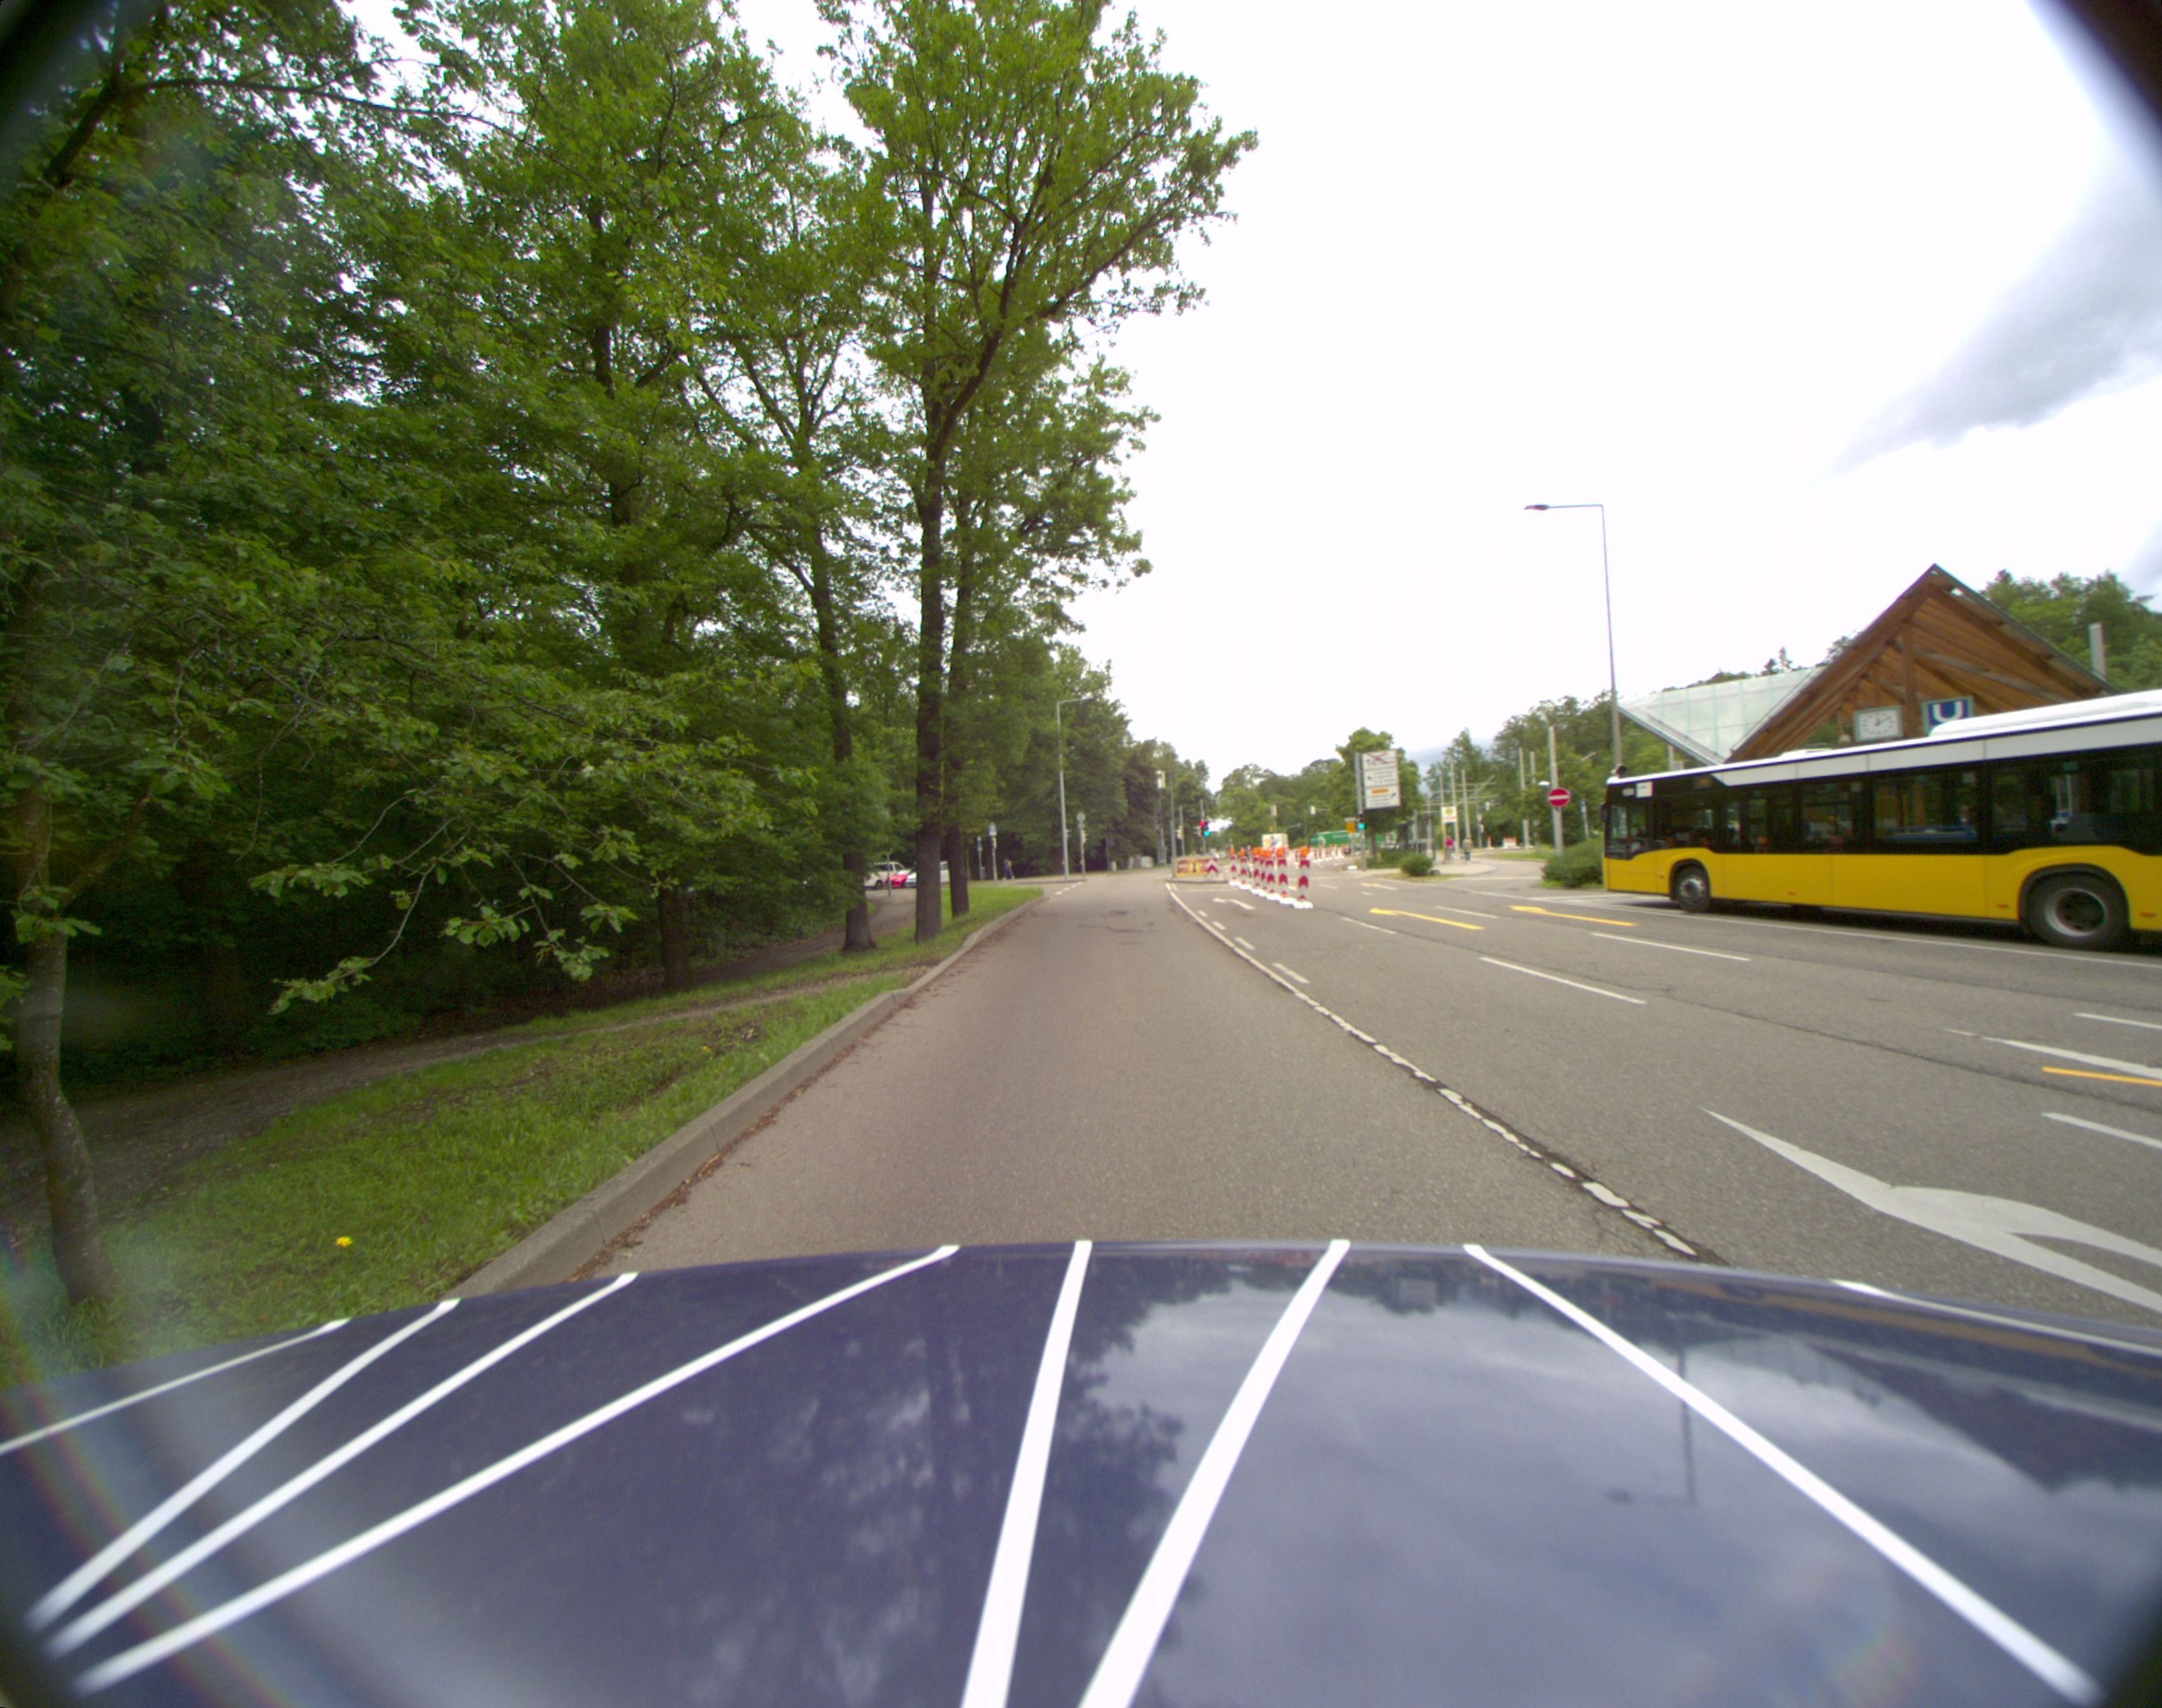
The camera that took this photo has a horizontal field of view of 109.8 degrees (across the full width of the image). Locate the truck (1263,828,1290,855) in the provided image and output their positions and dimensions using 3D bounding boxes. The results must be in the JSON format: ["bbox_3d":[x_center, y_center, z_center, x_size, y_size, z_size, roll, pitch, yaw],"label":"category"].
[{"bbox_3d":[24.957,-1.588,96.914,2.631,3.219,6.215,-1,1,20],"label":"truck"}]

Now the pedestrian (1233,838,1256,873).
[{"bbox_3d":[8.785,0.075,40.877,0.993,1.798,0.767,-4,0,8],"label":"pedestrian"}]

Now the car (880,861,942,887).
[{"bbox_3d":[-12.162,1.403,54.430,1.890,1.543,4.007,-4,0,35],"label":"car"}]

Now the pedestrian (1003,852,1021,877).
[{"bbox_3d":[-4.791,0.709,52.602,1.094,1.666,0.910,-3,1,-11],"label":"pedestrian"}]

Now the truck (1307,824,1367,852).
[{"bbox_3d":[40.236,-2.464,119.886,3.792,3.858,8.756,-4,0,-25],"label":"truck"}]

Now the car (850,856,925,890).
[{"bbox_3d":[-14.204,1.360,56.080,2.058,1.946,5.191,-4,1,32],"label":"car"}]

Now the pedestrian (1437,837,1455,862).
[{"bbox_3d":[23.733,-0.303,49.384,0.791,1.542,0.776,-4,0,12],"label":"pedestrian"}]

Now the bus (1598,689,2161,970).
[{"bbox_3d":[13.491,-0.340,12.864,2.906,3.109,9.759,-2,0,1],"label":"bus"}]

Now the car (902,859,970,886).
[{"bbox_3d":[-10.060,1.275,53.041,1.995,1.543,4.429,-4,-1,35],"label":"car"}]

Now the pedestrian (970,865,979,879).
[{"bbox_3d":[-12.698,2.139,90.656,0.833,1.641,1.035,-4,0,-2],"label":"pedestrian"}]

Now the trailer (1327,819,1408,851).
[{"bbox_3d":[42.894,-2.713,114.249,3.792,3.858,11.848,-4,0,-25],"label":"trailer"}]

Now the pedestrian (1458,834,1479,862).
[{"bbox_3d":[22.339,-0.339,43.758,0.873,1.516,0.769,-4,0,35],"label":"pedestrian"}]

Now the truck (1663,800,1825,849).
[{"bbox_3d":[36.683,-1.543,42.344,2.609,2.157,6.295,-4,0,-17],"label":"truck"}]
